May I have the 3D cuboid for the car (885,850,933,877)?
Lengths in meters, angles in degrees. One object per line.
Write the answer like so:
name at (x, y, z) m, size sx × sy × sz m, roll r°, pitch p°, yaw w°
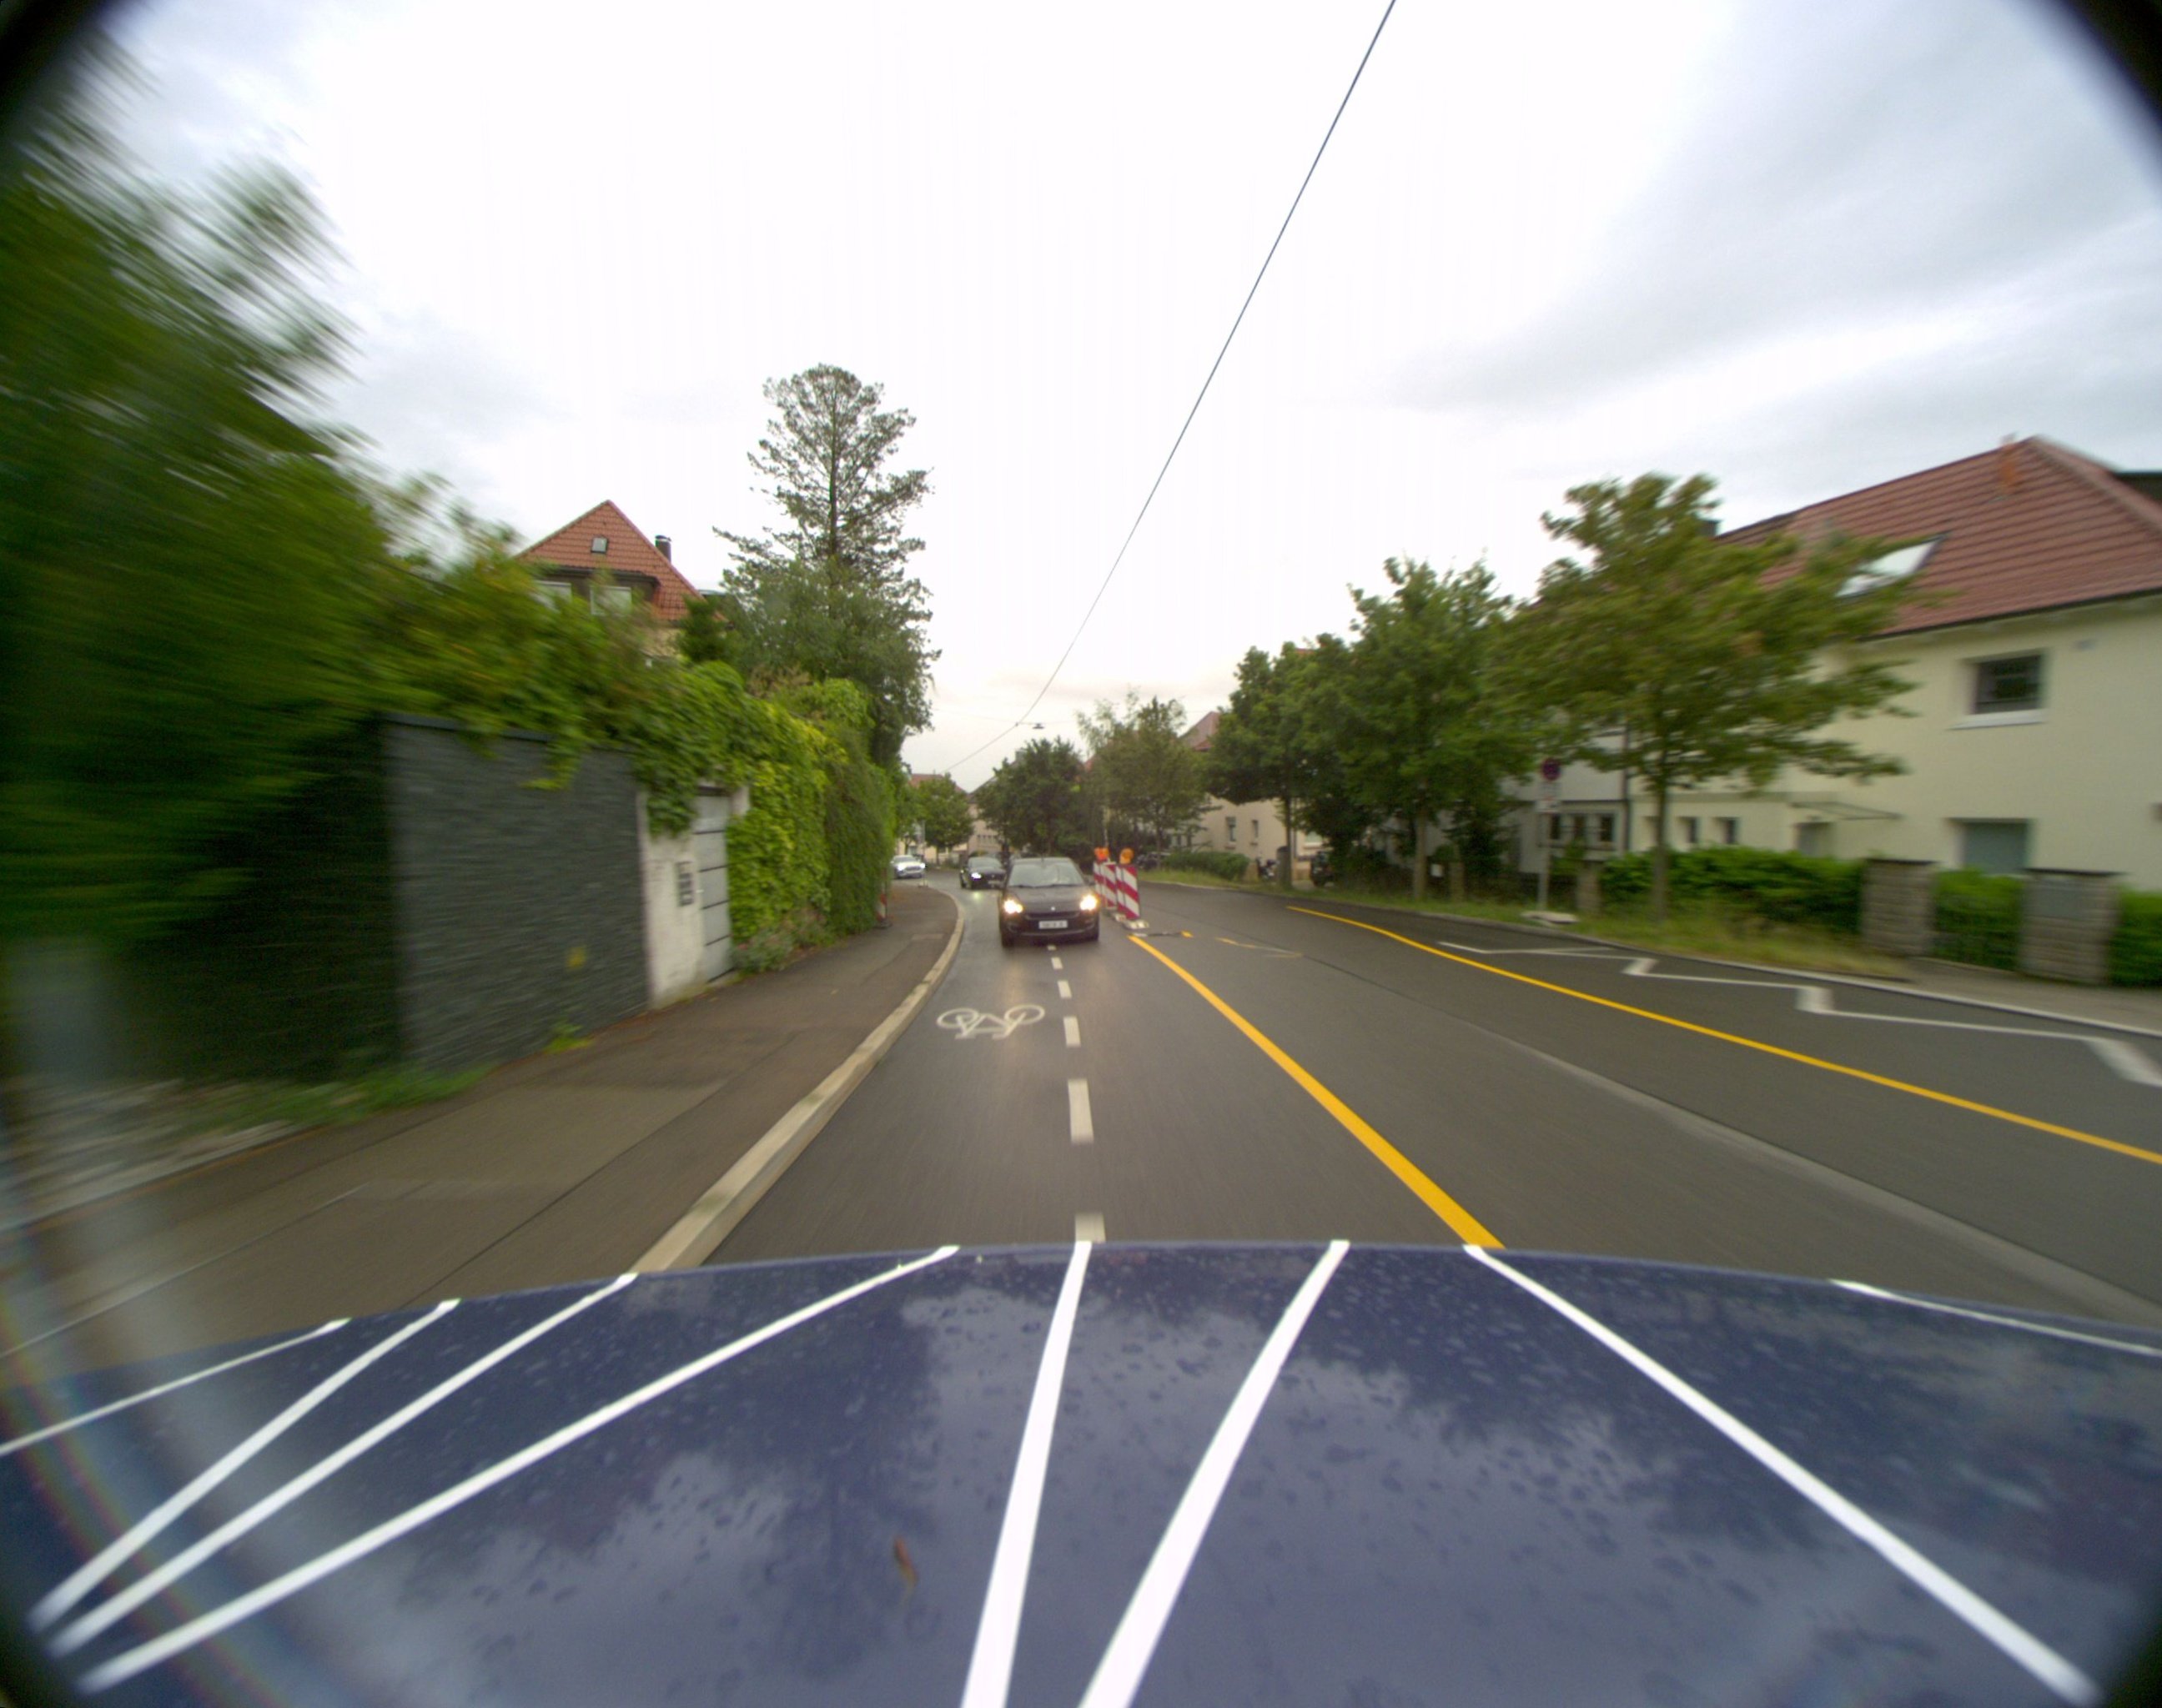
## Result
car at (-12.200, 0.662, 53.671) m, size 2.022 × 1.728 × 4.588 m, roll -4°, pitch 2°, yaw -29°

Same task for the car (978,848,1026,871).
car at (-5.687, 0.380, 54.433) m, size 1.740 × 1.476 × 4.519 m, roll -4°, pitch 2°, yaw -29°

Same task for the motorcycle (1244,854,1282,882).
motorcycle at (8.578, 0.649, 35.900) m, size 0.734 × 1.241 × 1.966 m, roll -3°, pitch 1°, yaw -19°

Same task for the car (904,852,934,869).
car at (-14.894, 0.571, 69.869) m, size 1.525 × 1.526 × 3.028 m, roll -2°, pitch 0°, yaw -36°

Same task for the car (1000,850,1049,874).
car at (-3.760, 0.468, 49.848) m, size 1.714 × 1.375 × 4.520 m, roll -4°, pitch 2°, yaw -24°

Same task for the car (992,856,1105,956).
car at (-0.739, 0.837, 14.318) m, size 1.747 × 1.434 × 4.356 m, roll -3°, pitch 1°, yaw -6°

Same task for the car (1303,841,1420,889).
car at (11.258, 0.399, 30.580) m, size 3.954 × 1.534 × 1.861 m, roll -5°, pitch 2°, yaw -14°

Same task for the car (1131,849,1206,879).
car at (5.504, 0.642, 48.014) m, size 4.255 × 1.496 × 1.911 m, roll 5°, pitch 0°, yaw -14°
